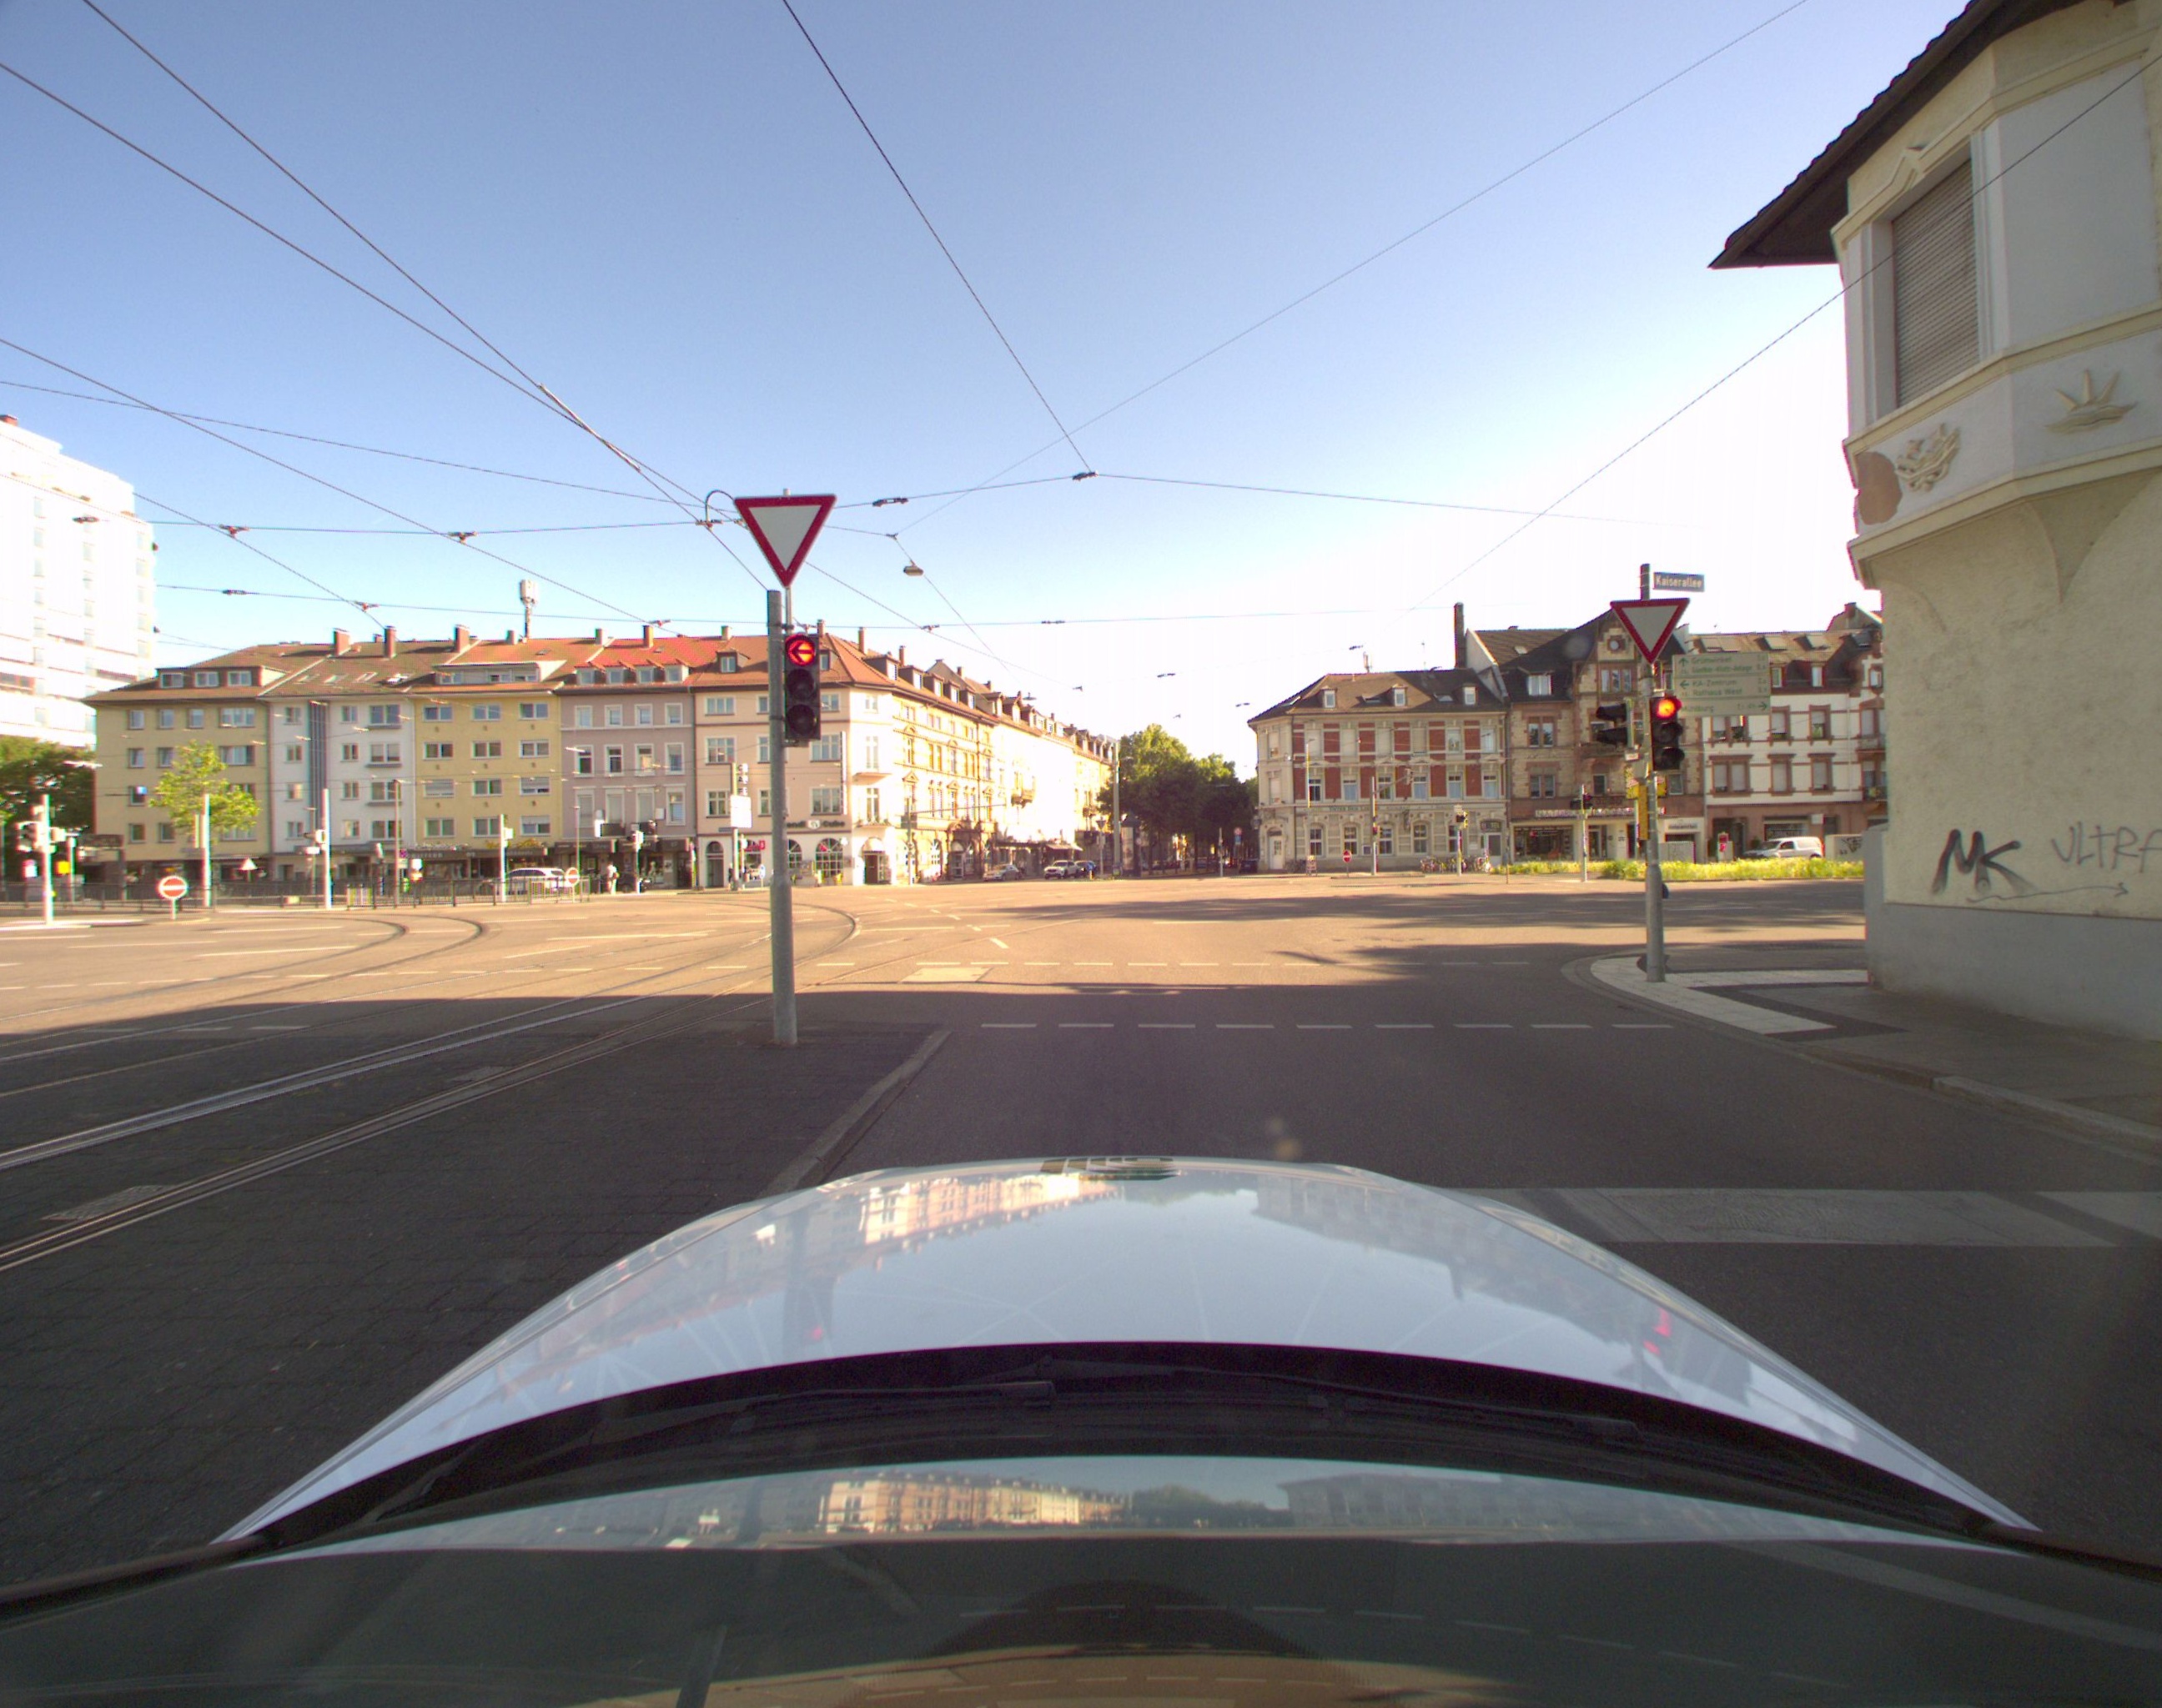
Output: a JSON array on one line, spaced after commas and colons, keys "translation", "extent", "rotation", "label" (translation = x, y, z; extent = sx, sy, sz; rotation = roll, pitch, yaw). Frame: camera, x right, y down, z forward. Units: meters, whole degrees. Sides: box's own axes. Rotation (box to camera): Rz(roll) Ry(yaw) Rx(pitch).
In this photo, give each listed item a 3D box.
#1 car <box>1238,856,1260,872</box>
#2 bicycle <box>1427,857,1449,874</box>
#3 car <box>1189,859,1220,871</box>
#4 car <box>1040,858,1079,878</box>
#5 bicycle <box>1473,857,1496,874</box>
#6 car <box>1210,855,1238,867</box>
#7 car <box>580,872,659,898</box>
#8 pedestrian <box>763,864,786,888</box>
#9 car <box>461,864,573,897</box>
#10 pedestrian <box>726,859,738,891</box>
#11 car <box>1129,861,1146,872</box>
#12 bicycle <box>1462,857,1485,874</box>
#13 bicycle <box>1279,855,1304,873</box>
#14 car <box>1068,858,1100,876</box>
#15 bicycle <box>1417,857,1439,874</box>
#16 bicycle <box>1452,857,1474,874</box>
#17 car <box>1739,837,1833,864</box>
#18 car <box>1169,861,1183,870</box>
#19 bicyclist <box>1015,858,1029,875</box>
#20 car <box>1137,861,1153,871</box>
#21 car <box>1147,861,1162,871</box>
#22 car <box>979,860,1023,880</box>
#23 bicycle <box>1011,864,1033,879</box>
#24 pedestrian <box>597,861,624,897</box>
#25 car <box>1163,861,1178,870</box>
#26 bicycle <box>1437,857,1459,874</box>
[{"translation": [16.909, 0.998, 82.044], "extent": [1.637, 1.524, 3.772], "rotation": [-2, -1, 20], "label": "car"}, {"translation": [23.154, 0.741, 52.863], "extent": [0.603, 1.051, 1.641], "rotation": [-1, 0, -3], "label": "bicycle"}, {"translation": [17.489, 1.533, 114.986], "extent": [4.078, 1.646, 1.754], "rotation": [1, 0, 17], "label": "car"}, {"translation": [-1.726, 1.167, 67.361], "extent": [2.080, 1.499, 4.017], "rotation": [-1, 0, 16], "label": "car"}, {"translation": [26.058, 0.718, 52.605], "extent": [0.603, 1.051, 1.641], "rotation": [-1, 0, -3], "label": "bicycle"}, {"translation": [23.375, 1.095, 133.065], "extent": [4.074, 1.919, 1.756], "rotation": [1, 0, 23], "label": "car"}, {"translation": [-30.270, 1.993, 53.524], "extent": [3.978, 1.464, 1.998], "rotation": [-2, 0, -4], "label": "car"}, {"translation": [-20.635, 1.475, 54.778], "extent": [1.060, 1.591, 1.043], "rotation": [-1, 0, 4], "label": "pedestrian"}, {"translation": [-31.542, 1.488, 45.645], "extent": [4.834, 1.660, 1.999], "rotation": [-1, 0, -1], "label": "car"}, {"translation": [-22.773, 1.359, 53.113], "extent": [0.506, 2.013, 0.505], "rotation": [-1, 0, 5], "label": "pedestrian"}, {"translation": [7.605, 1.657, 109.995], "extent": [1.729, 1.397, 4.137], "rotation": [1, 0, 12], "label": "car"}, {"translation": [25.319, 0.723, 52.612], "extent": [0.603, 1.051, 1.641], "rotation": [-1, 0, -3], "label": "bicycle"}, {"translation": [14.700, 0.696, 56.932], "extent": [1.625, 1.222, 0.609], "rotation": [-1, 0, 18], "label": "bicycle"}, {"translation": [0.295, 1.156, 73.685], "extent": [1.979, 1.513, 4.015], "rotation": [-1, 0, 14], "label": "car"}, {"translation": [22.500, 0.746, 52.832], "extent": [0.603, 1.051, 1.641], "rotation": [-1, 0, -3], "label": "bicycle"}, {"translation": [24.644, 0.728, 52.563], "extent": [0.603, 1.051, 1.641], "rotation": [-1, 0, -3], "label": "bicycle"}, {"translation": [45.389, -0.223, 52.466], "extent": [4.356, 1.654, 1.999], "rotation": [-1, 0, -2], "label": "car"}, {"translation": [15.867, 1.842, 136.196], "extent": [1.728, 1.397, 4.141], "rotation": [1, 0, 16], "label": "car"}, {"translation": [-4.762, 0.990, 65.863], "extent": [0.787, 1.375, 1.113], "rotation": [-1, 0, 16], "label": "bicyclist"}, {"translation": [9.179, 1.693, 115.765], "extent": [1.729, 1.397, 4.137], "rotation": [1, 0, 12], "label": "car"}, {"translation": [11.066, 1.736, 122.702], "extent": [1.729, 1.397, 4.137], "rotation": [1, 0, 12], "label": "car"}, {"translation": [-6.594, 1.307, 67.691], "extent": [2.080, 1.545, 4.382], "rotation": [-1, 0, 16], "label": "car"}, {"translation": [-4.765, 1.434, 65.891], "extent": [0.745, 1.135, 2.821], "rotation": [-1, 0, 16], "label": "bicycle"}, {"translation": [-24.565, 1.311, 42.547], "extent": [0.871, 1.818, 0.811], "rotation": [-1, 0, 2], "label": "pedestrian"}, {"translation": [14.443, 1.818, 131.449], "extent": [1.728, 1.397, 4.141], "rotation": [1, 0, 16], "label": "car"}, {"translation": [23.817, 0.736, 52.863], "extent": [0.603, 1.051, 1.641], "rotation": [-1, 0, -3], "label": "bicycle"}]
